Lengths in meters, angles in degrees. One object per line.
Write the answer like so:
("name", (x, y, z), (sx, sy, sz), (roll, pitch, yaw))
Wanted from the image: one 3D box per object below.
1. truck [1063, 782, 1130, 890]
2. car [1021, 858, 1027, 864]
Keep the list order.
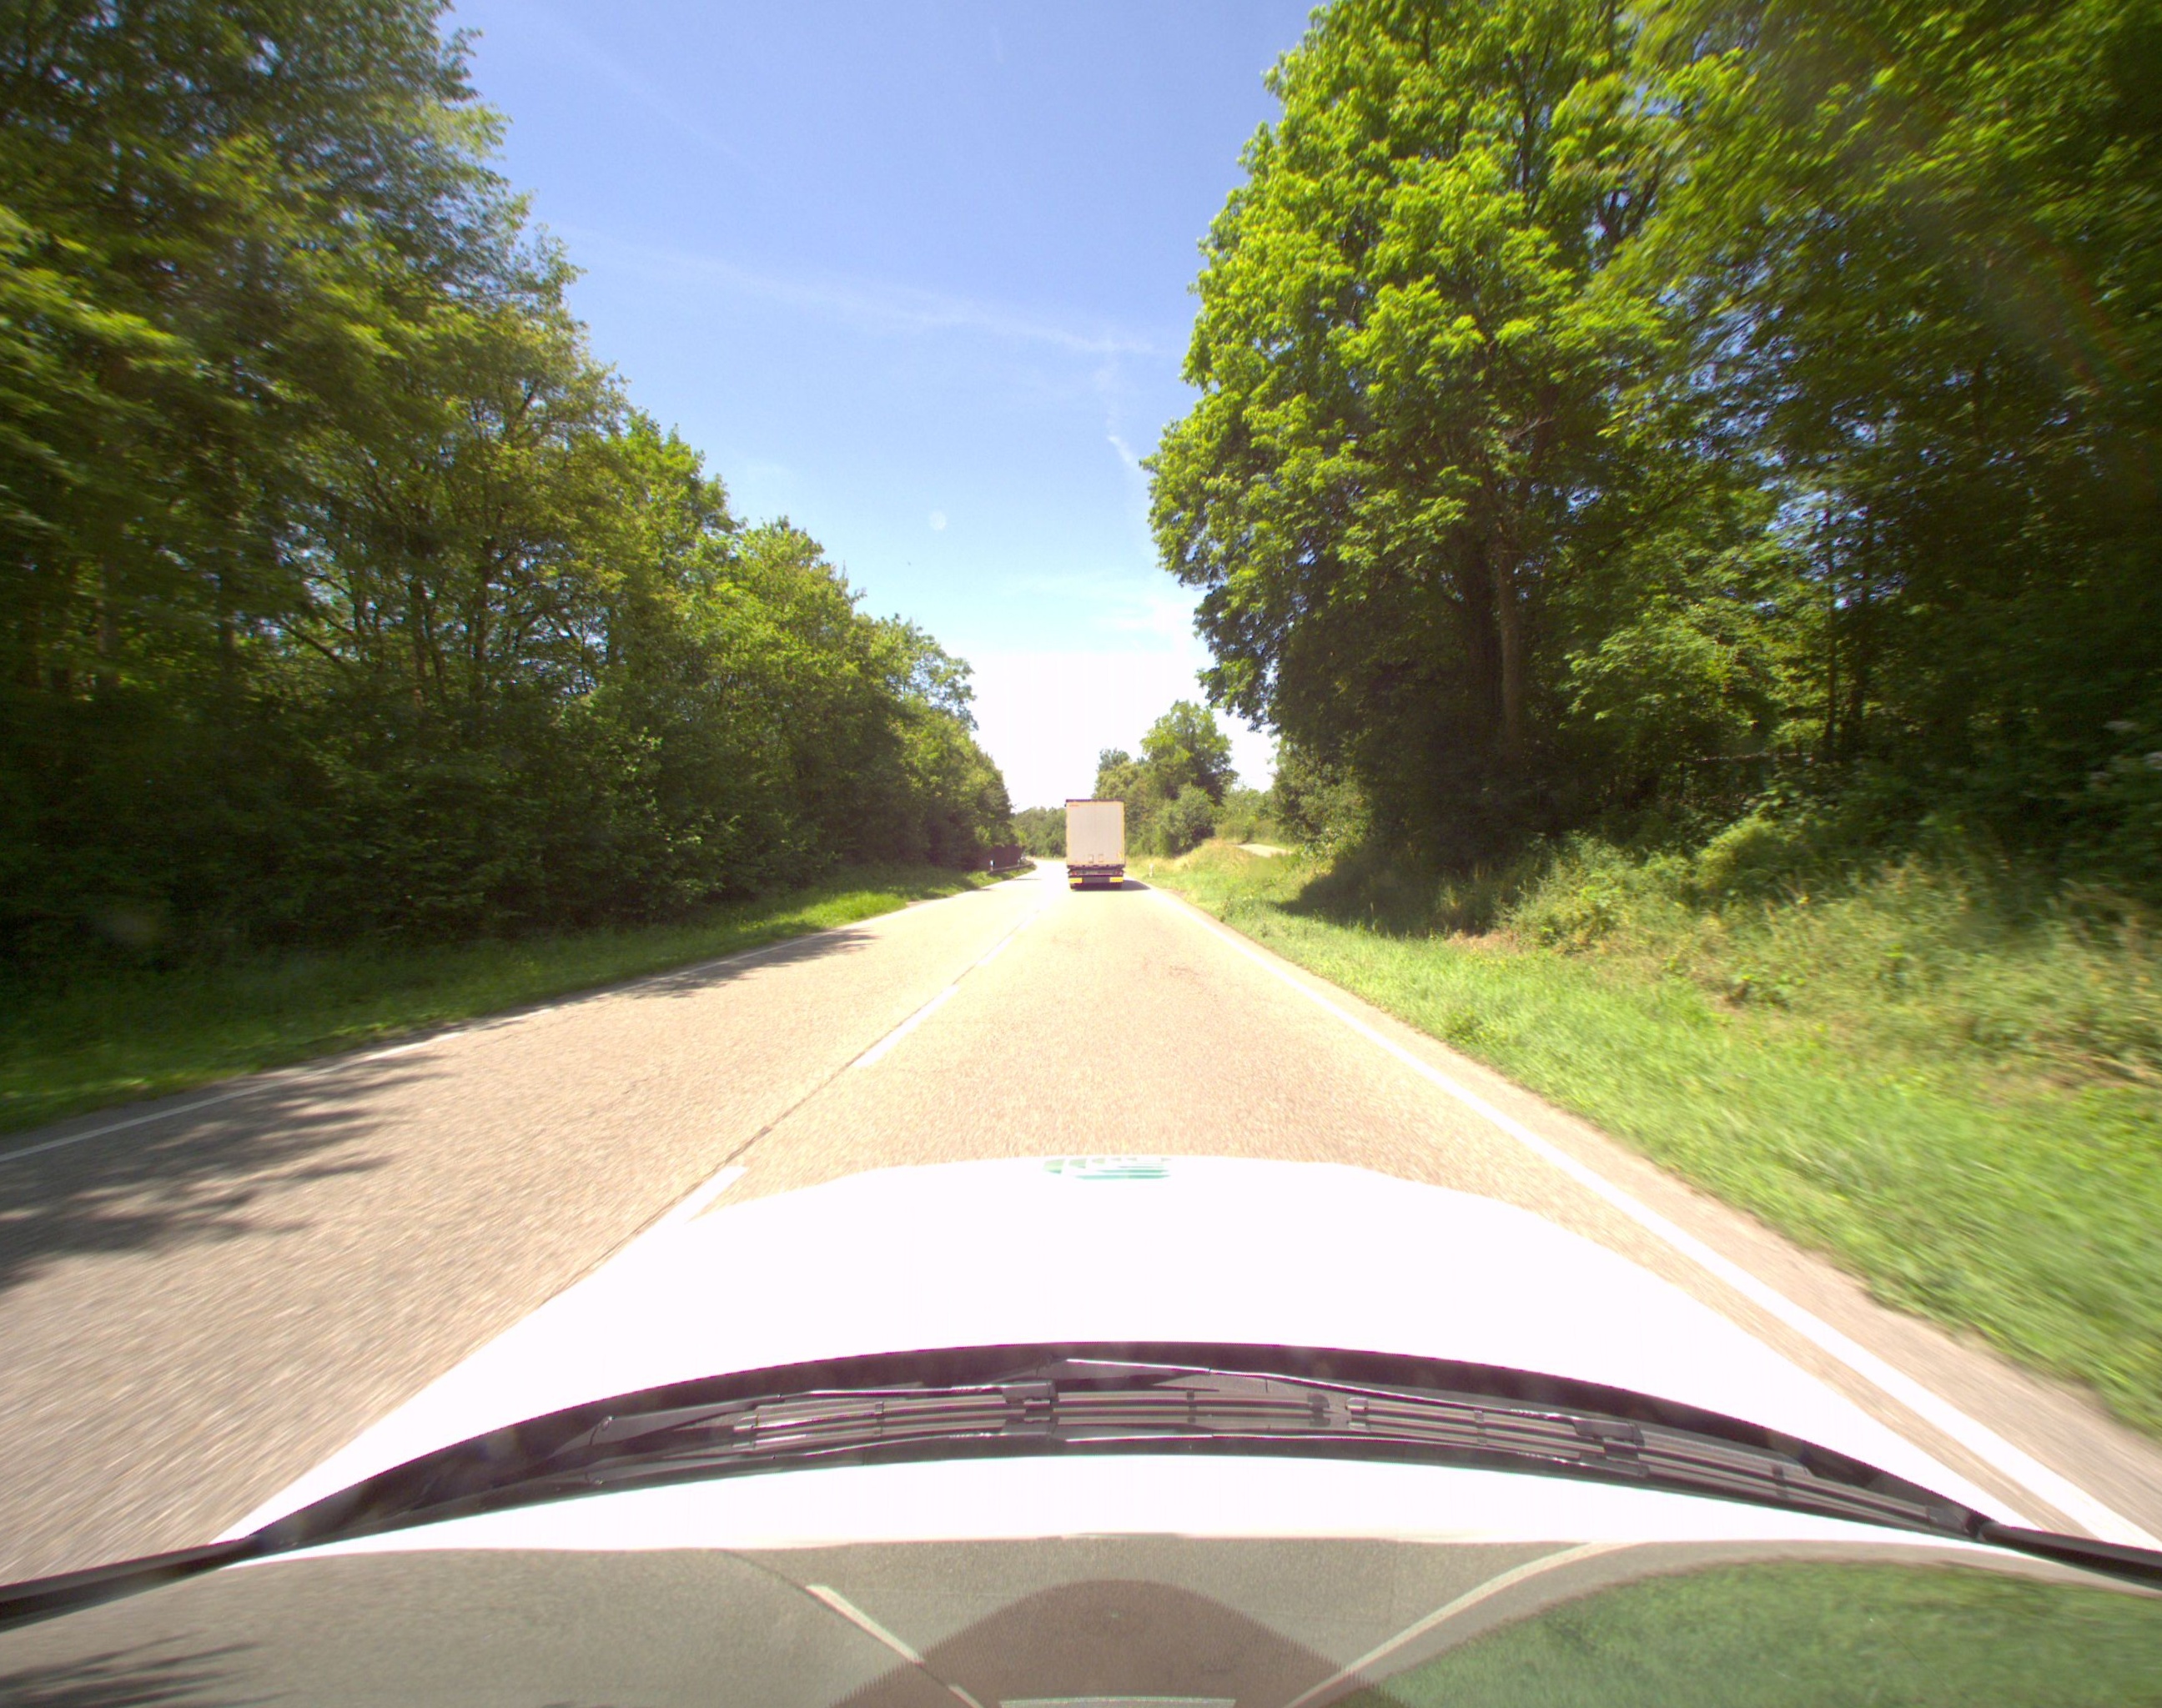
("truck", (0.844, -0.709, 38.290), (2.810, 4.604, 6.670), (-1, -1, 3))
("car", (-16.881, 2.093, 242.430), (1.616, 1.491, 3.606), (-1, 0, -8))
